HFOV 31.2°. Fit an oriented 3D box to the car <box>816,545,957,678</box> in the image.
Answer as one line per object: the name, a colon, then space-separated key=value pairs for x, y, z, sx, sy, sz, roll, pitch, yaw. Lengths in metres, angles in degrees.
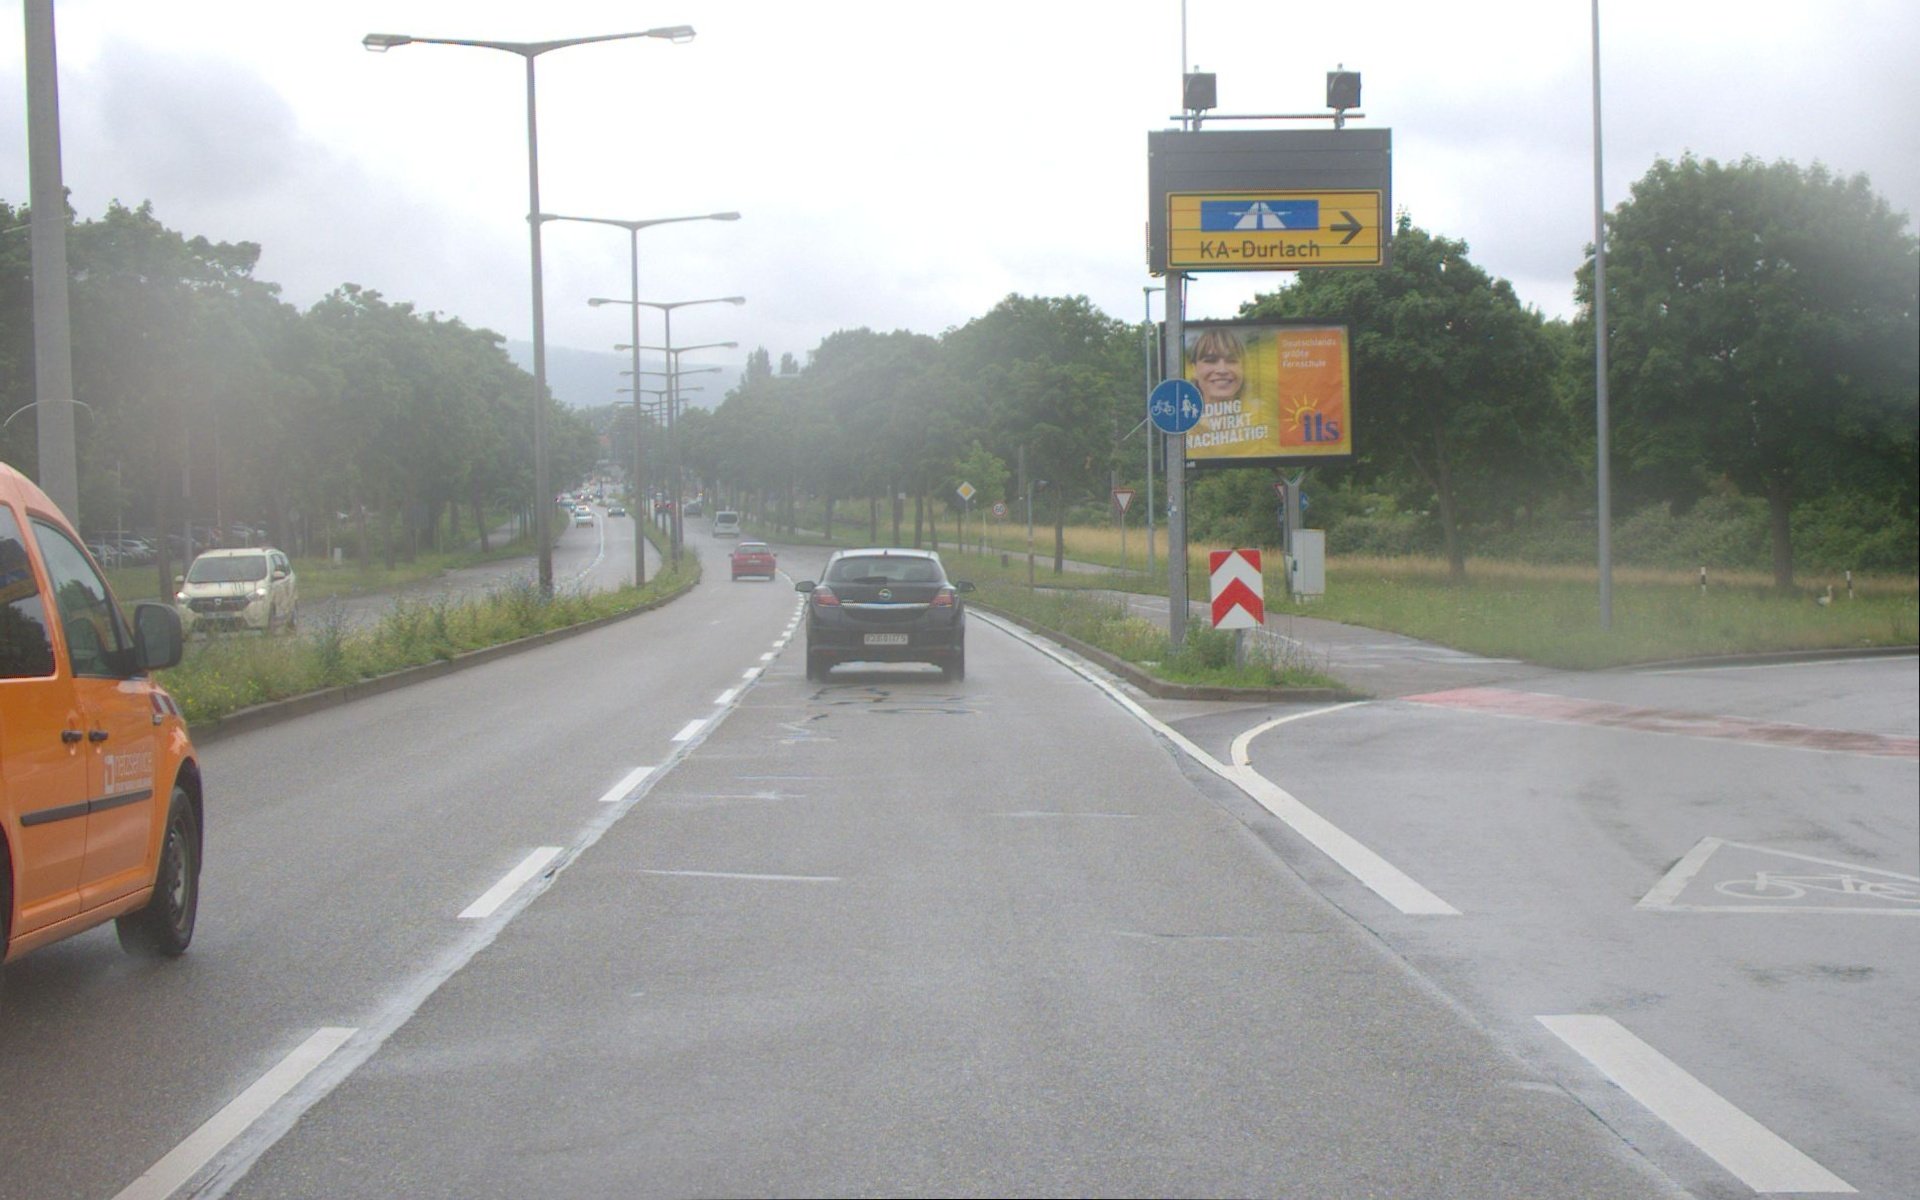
car: x=-0.826 y=0.089 z=37.510 sx=1.463 sy=1.324 sz=3.758 roll=0 pitch=2 yaw=-2

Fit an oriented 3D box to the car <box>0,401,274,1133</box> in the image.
car: x=-3.515 y=0.420 z=10.913 sx=1.734 sy=2.012 sz=4.849 roll=2 pitch=1 yaw=-1

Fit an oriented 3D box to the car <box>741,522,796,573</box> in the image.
car: x=-7.196 y=-1.975 z=129.433 sx=1.993 sy=1.873 sz=4.000 roll=0 pitch=1 yaw=-2

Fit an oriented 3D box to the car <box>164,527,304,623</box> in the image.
car: x=-13.416 y=-0.492 z=63.784 sx=1.707 sy=1.624 sz=4.493 roll=-3 pitch=1 yaw=-2

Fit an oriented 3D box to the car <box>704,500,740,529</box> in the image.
car: x=-17.790 y=-6.355 z=256.677 sx=2.515 sy=2.045 sz=5.294 roll=-1 pitch=1 yaw=-5
